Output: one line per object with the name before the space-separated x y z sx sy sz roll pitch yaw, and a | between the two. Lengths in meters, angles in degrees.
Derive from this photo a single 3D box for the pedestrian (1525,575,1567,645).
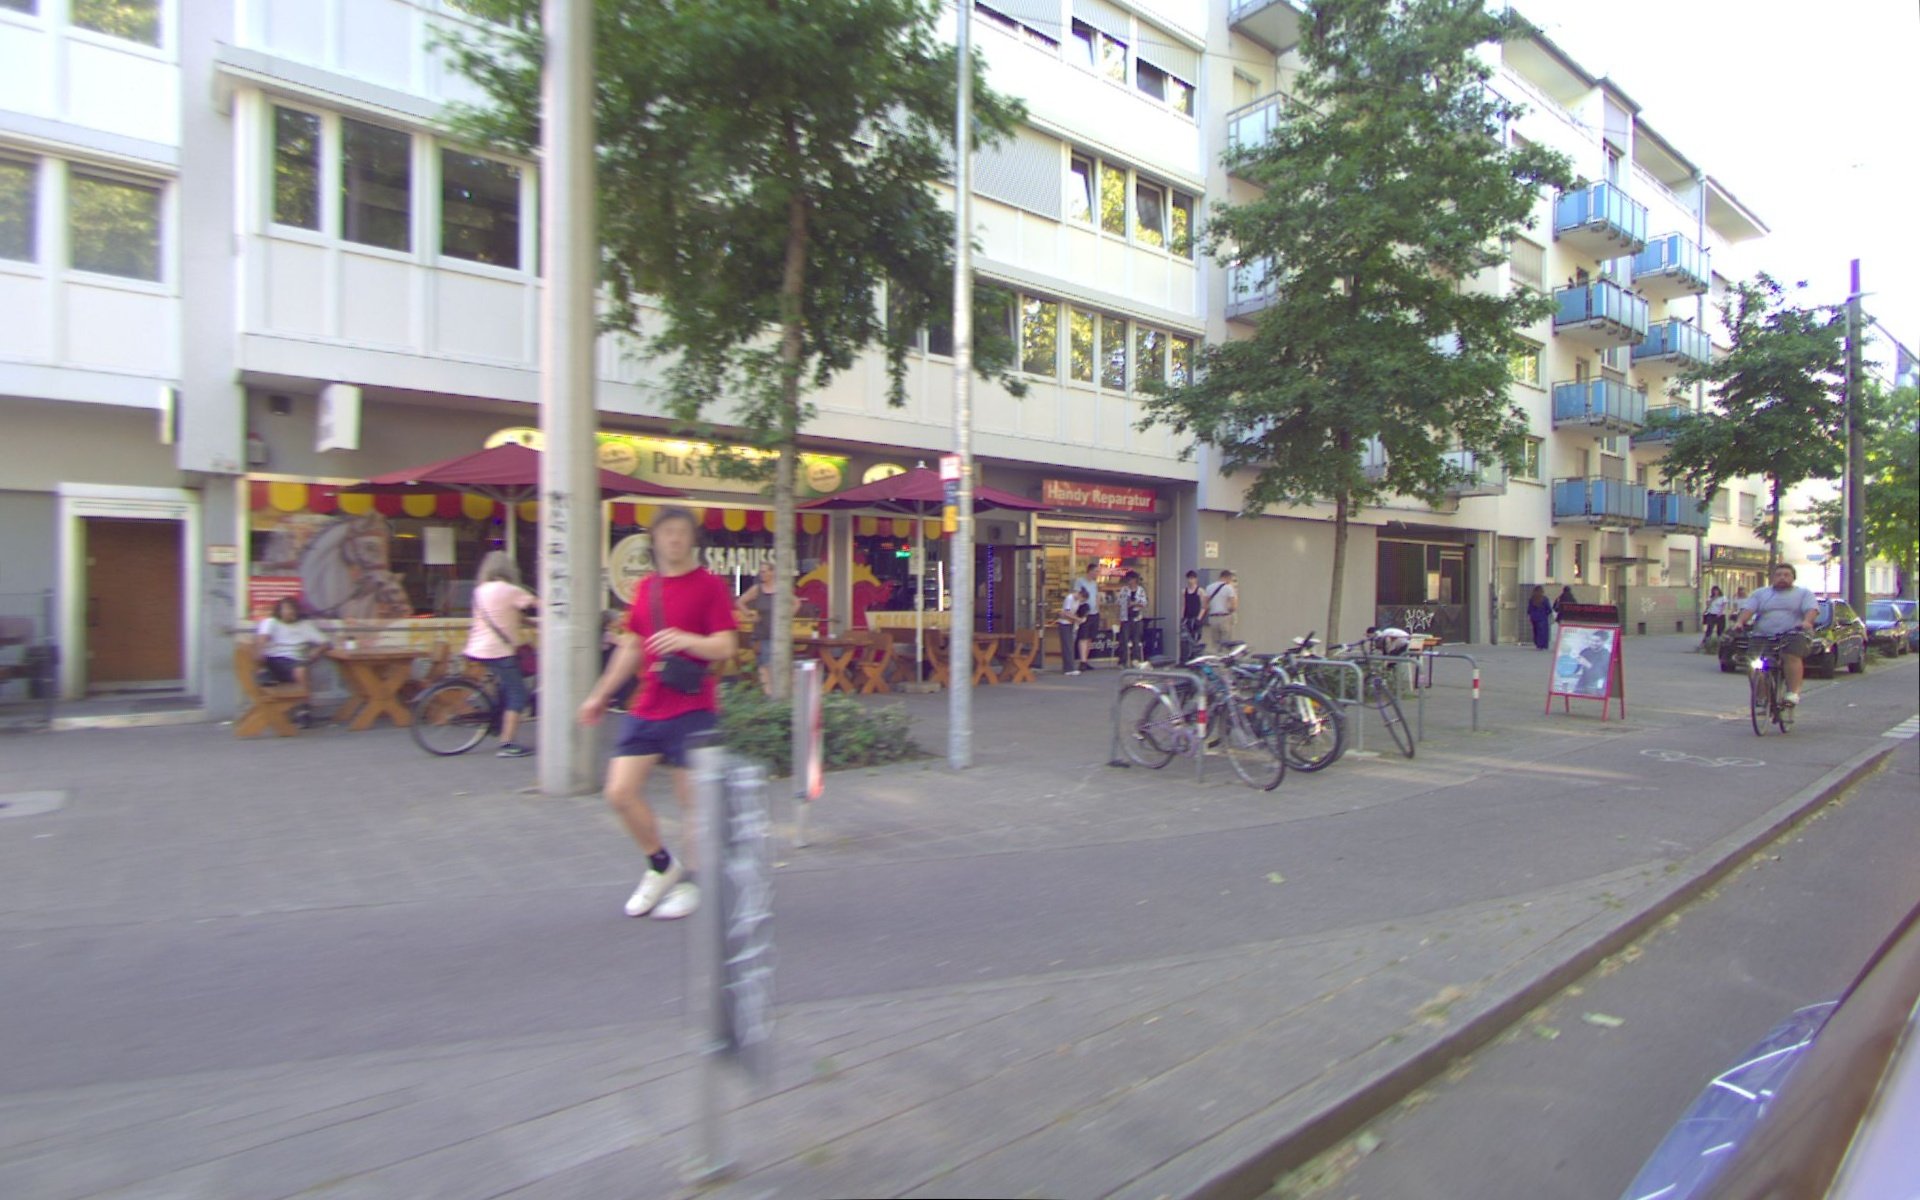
pedestrian | 14.710 0.227 25.408 0.918 1.698 0.597 -1 3 -41

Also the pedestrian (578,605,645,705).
pedestrian | -3.977 0.610 11.548 0.513 1.092 0.643 -1 0 -40

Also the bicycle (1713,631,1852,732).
bicycle | 9.041 0.847 11.095 1.904 0.949 0.790 -1 0 -39

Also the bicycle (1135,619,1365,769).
bicycle | 2.364 0.723 8.431 1.815 1.114 0.490 -1 0 44

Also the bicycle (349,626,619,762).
bicycle | -4.022 0.741 8.639 1.985 0.975 0.679 -1 0 -37

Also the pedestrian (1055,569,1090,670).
pedestrian | 1.878 0.318 16.874 0.500 1.649 0.516 -1 0 14

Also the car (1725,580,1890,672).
car | 17.388 0.441 20.703 4.252 1.607 1.763 -1 4 -40

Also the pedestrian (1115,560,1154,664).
pedestrian | 3.139 0.213 18.248 0.620 1.828 0.526 -1 0 5

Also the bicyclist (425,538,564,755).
bicyclist | -3.990 0.367 8.676 0.947 1.739 0.679 -1 -1 -37

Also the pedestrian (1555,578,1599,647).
pedestrian | 15.163 0.294 24.882 0.854 1.658 0.643 0 2 -41

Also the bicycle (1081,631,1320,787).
bicycle | 1.761 0.762 7.676 0.473 1.007 1.818 -1 0 -41

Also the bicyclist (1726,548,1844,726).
bicyclist | 9.079 0.380 11.139 1.079 1.854 0.769 -1 -1 -39

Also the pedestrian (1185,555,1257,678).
pedestrian | 3.988 0.235 15.466 0.978 1.807 0.591 -1 -1 -40

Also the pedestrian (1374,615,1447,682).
pedestrian | 7.350 0.785 16.542 0.988 1.040 0.657 -1 0 18

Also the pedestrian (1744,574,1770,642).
pedestrian | 22.425 0.217 28.473 0.652 1.875 0.476 0 -1 -42

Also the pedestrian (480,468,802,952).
pedestrian | -1.323 0.406 4.364 0.867 1.780 1.041 -1 0 19

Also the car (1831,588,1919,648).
car | 25.464 0.451 27.934 3.822 1.500 1.625 0 3 -42

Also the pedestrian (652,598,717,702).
pedestrian | -3.296 0.582 12.106 0.513 1.190 0.660 -1 -1 -40

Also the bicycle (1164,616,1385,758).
bicycle | 2.695 0.701 8.843 1.815 1.114 0.474 -1 0 44

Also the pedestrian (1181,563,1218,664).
pedestrian | 4.380 0.238 18.513 0.480 1.819 0.432 0 -1 -40

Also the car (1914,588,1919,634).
car | 35.872 0.398 36.567 4.188 1.590 1.722 -1 3 -43

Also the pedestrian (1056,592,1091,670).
pedestrian | 1.911 0.514 17.016 0.501 1.292 0.623 -1 0 14

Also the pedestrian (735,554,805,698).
pedestrian | -2.330 0.301 12.372 0.665 1.680 0.816 -1 0 -23

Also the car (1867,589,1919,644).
car | 28.411 0.474 30.278 2.830 1.556 1.448 0 2 -40

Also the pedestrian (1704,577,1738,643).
pedestrian | 21.985 0.273 29.235 0.530 1.875 0.663 0 0 -40

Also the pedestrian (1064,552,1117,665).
pedestrian | 2.333 0.149 18.112 0.776 1.979 0.508 -1 -1 -30

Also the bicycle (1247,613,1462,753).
bicycle | 3.552 0.698 9.259 0.516 1.114 1.819 -1 1 -39

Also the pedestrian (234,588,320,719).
pedestrian | -7.067 0.529 10.477 0.702 1.303 0.537 -1 -1 -38

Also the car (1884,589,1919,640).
car | 31.489 0.453 32.709 4.054 1.556 1.791 0 3 -40
